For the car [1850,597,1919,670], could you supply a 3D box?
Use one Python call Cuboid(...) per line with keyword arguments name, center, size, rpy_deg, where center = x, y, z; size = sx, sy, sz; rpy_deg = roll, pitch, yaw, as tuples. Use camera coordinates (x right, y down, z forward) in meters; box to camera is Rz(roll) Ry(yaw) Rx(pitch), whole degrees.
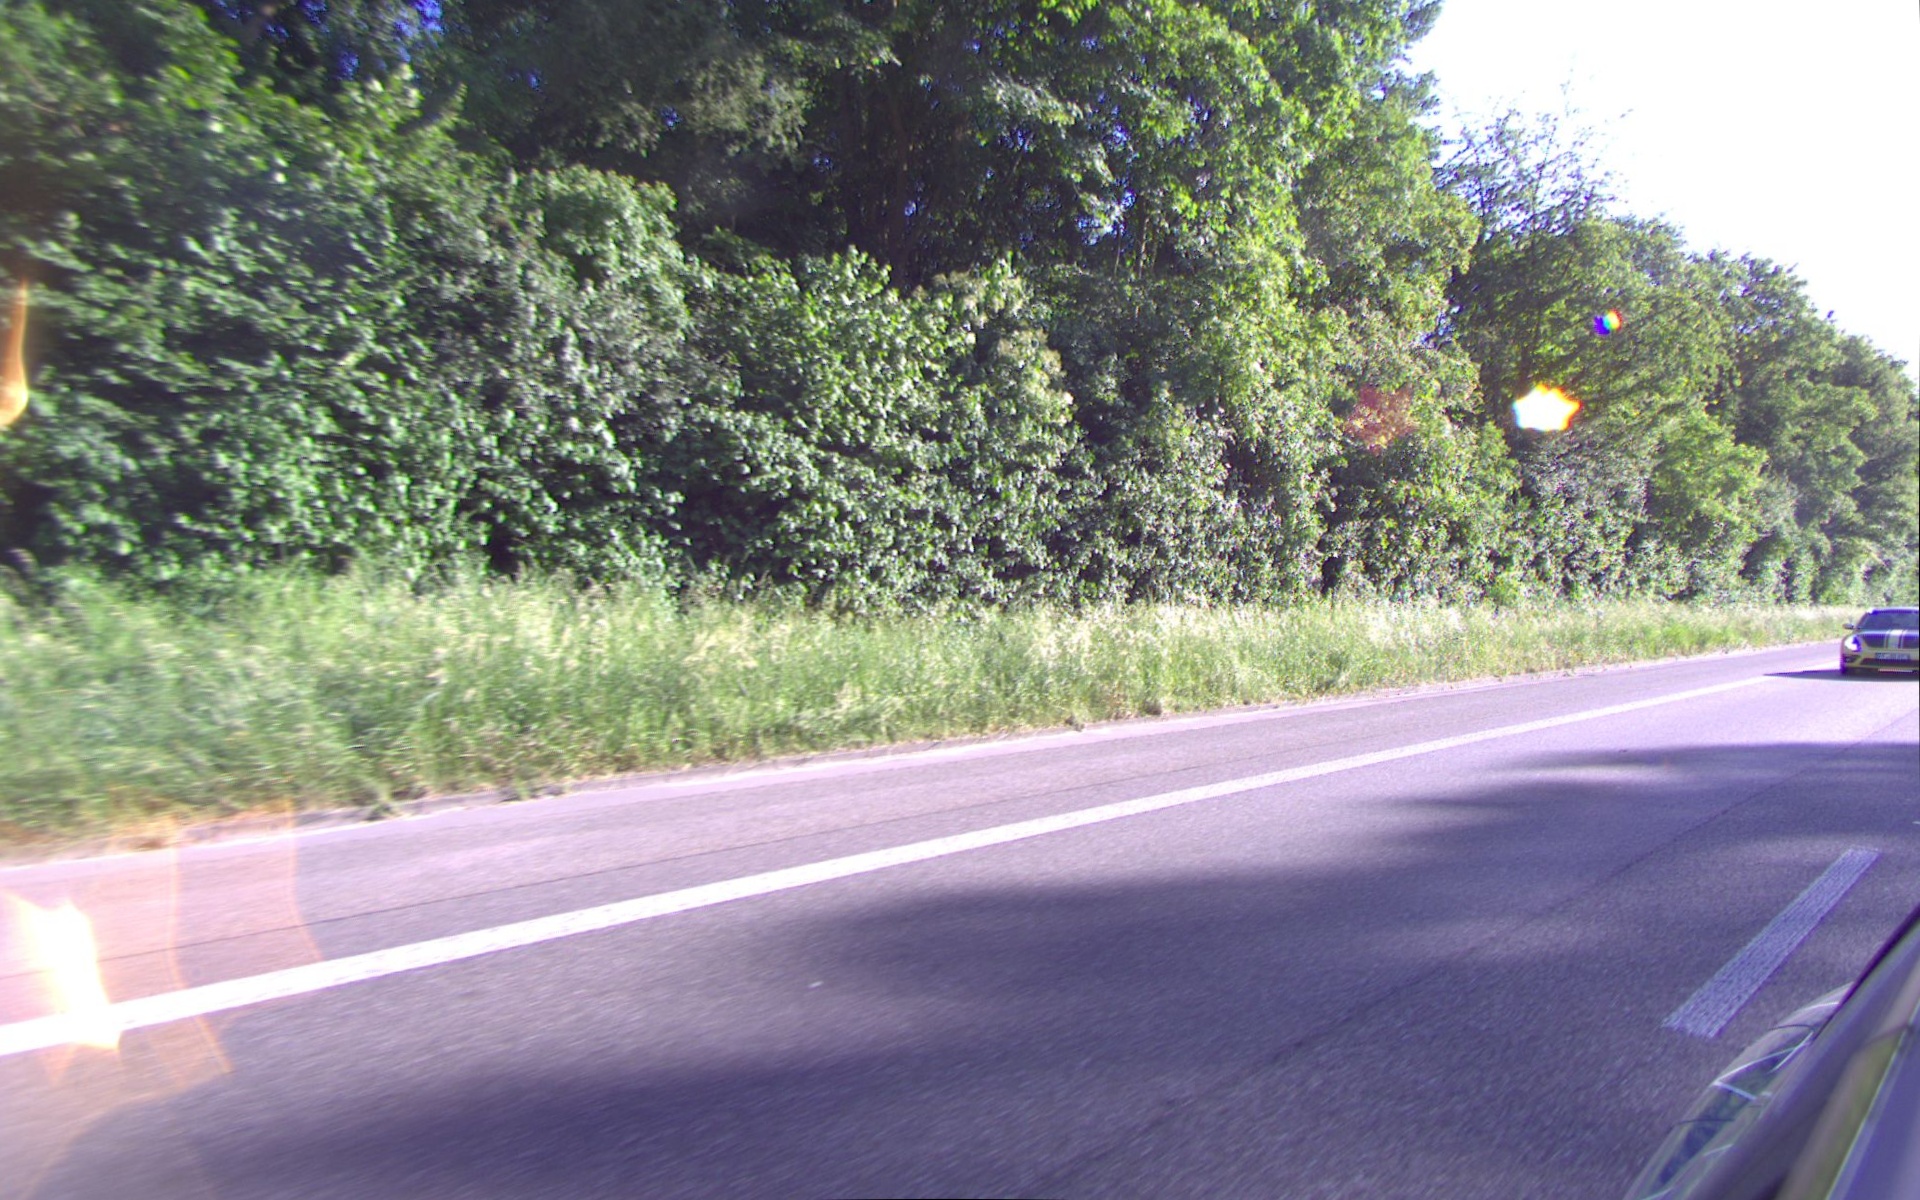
Cuboid(name="car", center=(20.649, 0.671, 21.802), size=(3.811, 1.467, 1.793), rpy_deg=(0, 0, -42))
